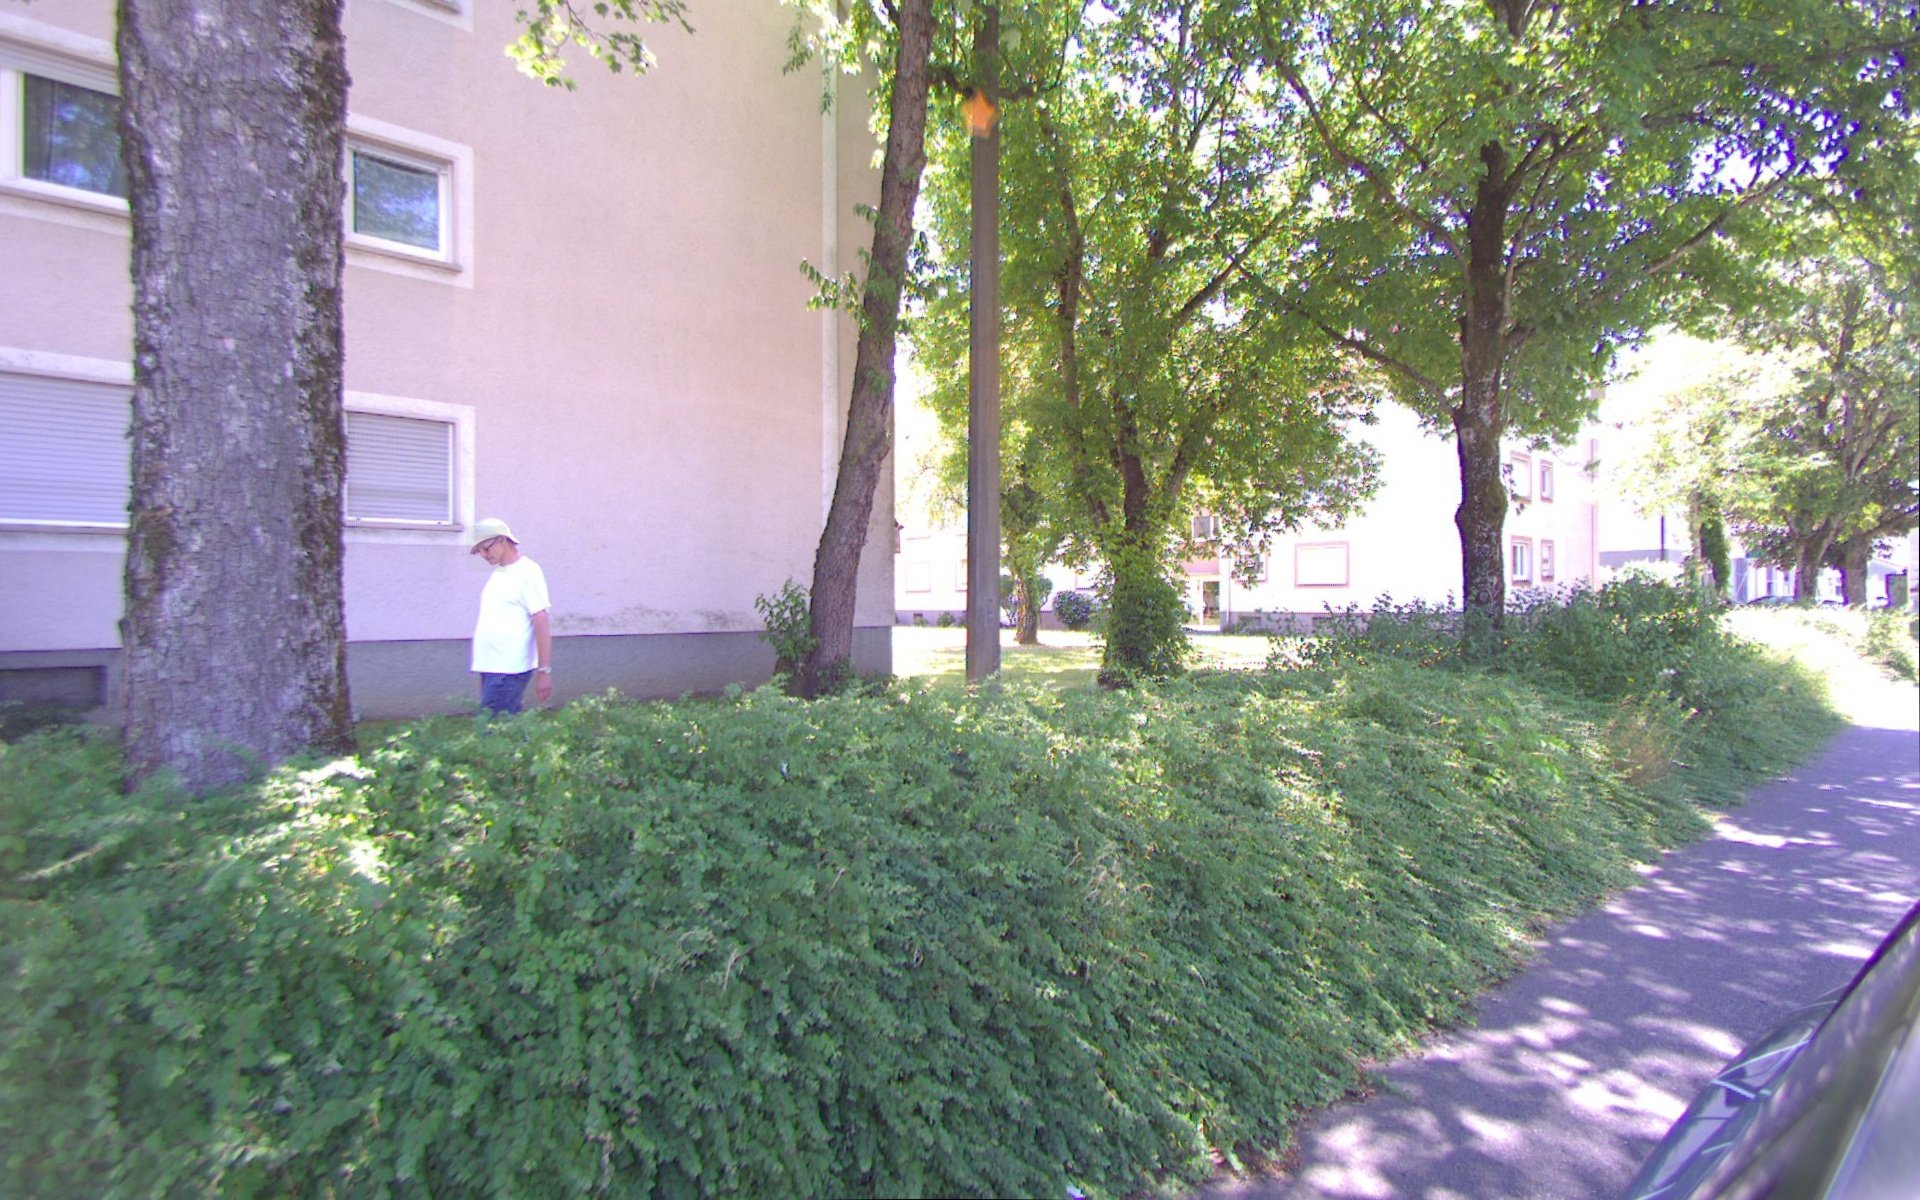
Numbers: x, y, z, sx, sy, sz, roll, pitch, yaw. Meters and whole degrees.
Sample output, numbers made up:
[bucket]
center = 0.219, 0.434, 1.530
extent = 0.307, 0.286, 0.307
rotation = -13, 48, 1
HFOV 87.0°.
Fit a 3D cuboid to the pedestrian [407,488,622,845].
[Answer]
[pedestrian]
center = -2.593, 0.358, 5.937
extent = 0.668, 1.897, 0.894
rotation = -3, -1, 28
